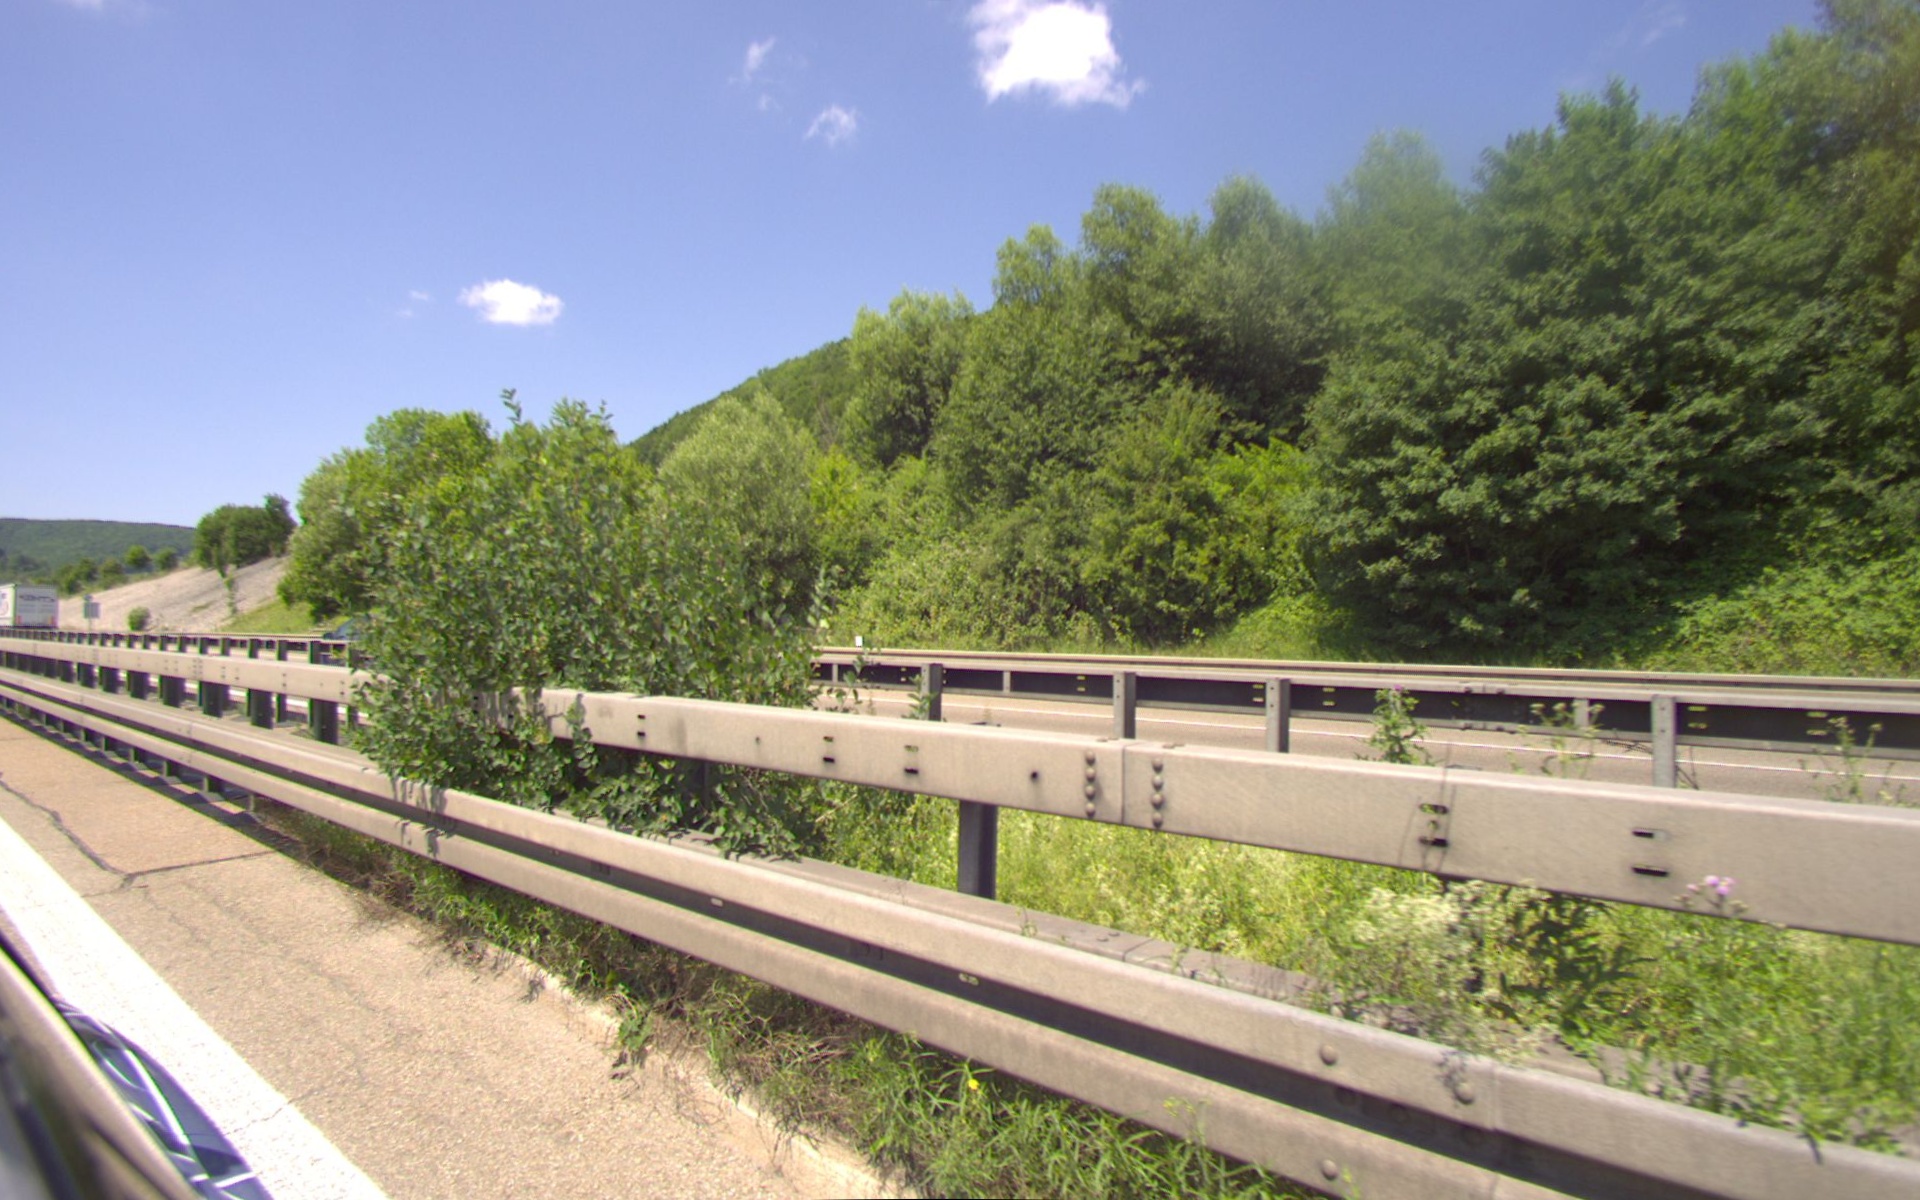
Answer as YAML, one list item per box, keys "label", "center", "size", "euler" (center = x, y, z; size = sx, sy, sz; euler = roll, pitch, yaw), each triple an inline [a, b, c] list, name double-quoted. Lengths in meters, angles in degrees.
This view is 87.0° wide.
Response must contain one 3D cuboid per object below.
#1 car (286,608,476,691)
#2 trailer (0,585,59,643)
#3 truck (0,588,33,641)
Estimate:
- label: "car"
  center: [-11.305, 0.909, 19.629]
  size: [4.431, 1.431, 1.850]
  euler: [-1, -2, 41]
- label: "trailer"
  center: [-70.570, 1.092, 75.901]
  size: [11.255, 4.107, 2.827]
  euler: [-1, -2, 40]
- label: "truck"
  center: [-77.105, 1.193, 81.486]
  size: [5.844, 4.133, 2.879]
  euler: [-1, -3, 41]
